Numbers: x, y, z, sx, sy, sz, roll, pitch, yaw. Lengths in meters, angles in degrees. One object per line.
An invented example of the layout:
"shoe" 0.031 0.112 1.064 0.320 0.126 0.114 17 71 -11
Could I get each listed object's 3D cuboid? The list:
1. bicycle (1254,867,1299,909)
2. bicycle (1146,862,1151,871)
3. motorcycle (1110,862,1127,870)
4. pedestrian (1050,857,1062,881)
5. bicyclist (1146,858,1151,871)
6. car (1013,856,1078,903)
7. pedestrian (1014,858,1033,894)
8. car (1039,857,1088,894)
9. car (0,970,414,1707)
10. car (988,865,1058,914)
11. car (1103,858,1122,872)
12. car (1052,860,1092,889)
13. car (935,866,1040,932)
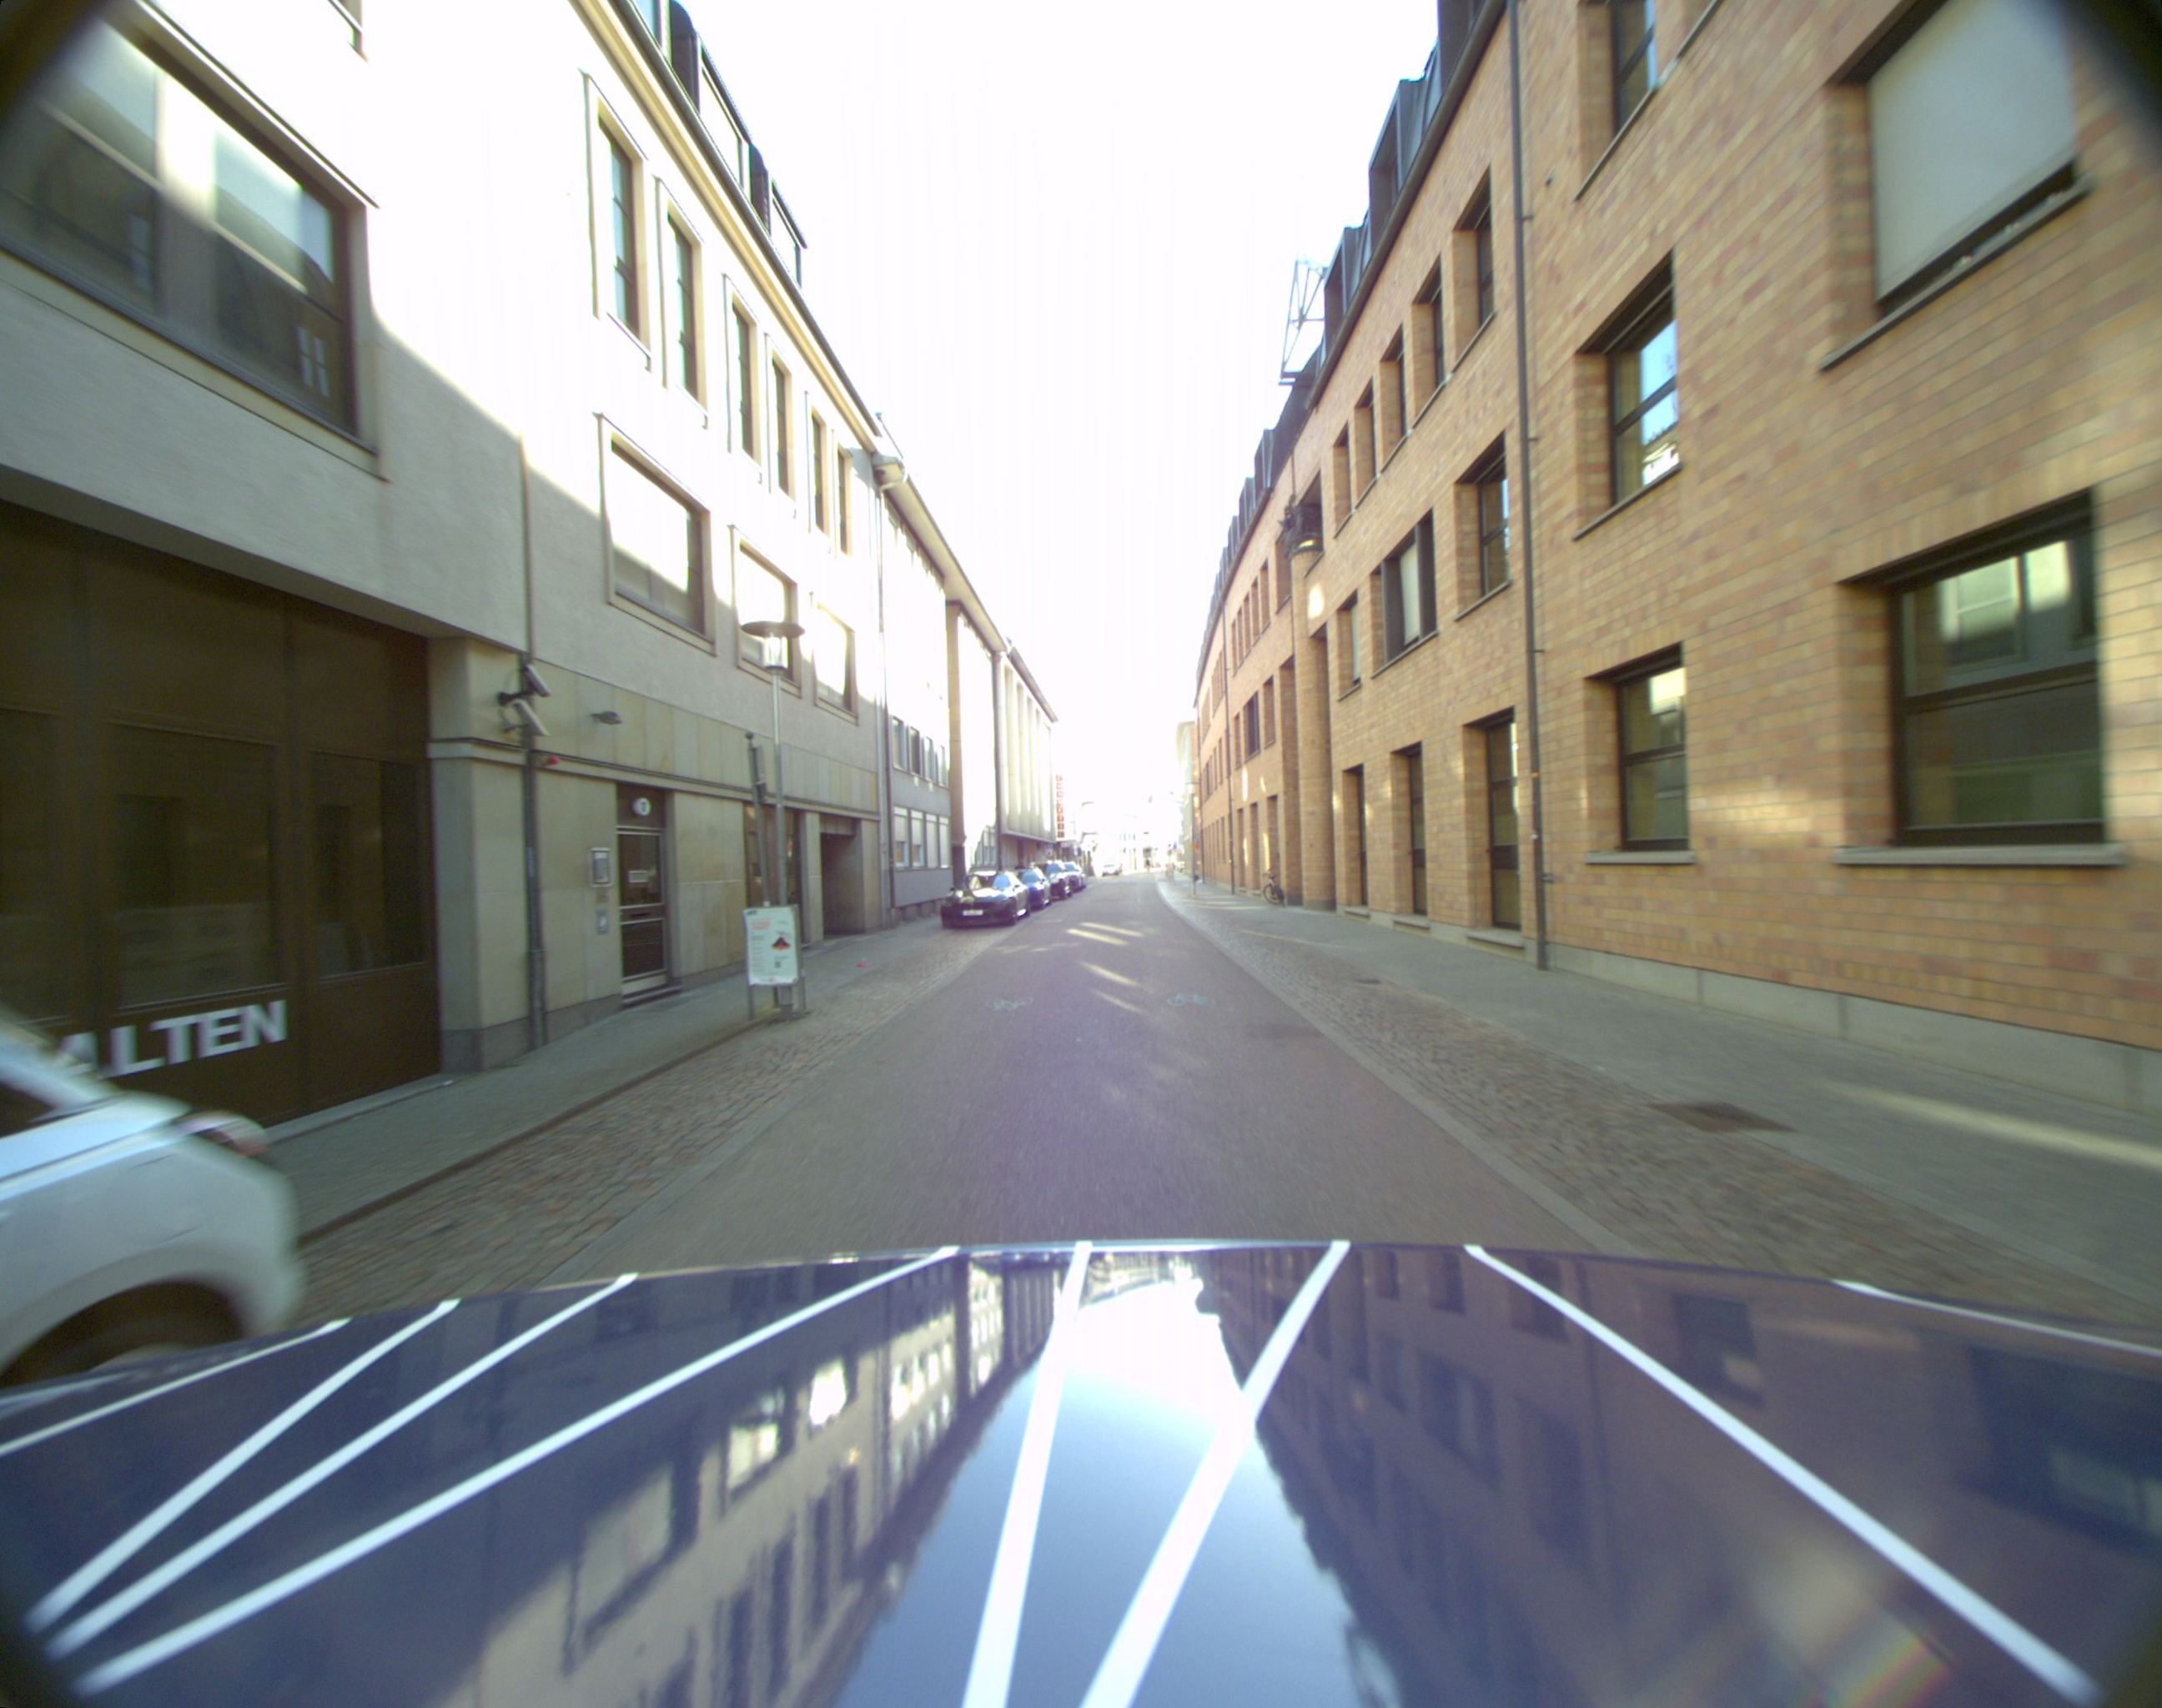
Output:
"bicycle" 5.856 0.989 22.848 0.633 1.155 1.803 -5 0 -5
"bicycle" 8.658 1.607 97.354 0.652 1.125 1.736 2 1 6
"motorcycle" 4.810 1.530 97.676 1.995 0.950 0.646 -2 0 19
"pedestrian" -1.881 1.143 57.060 0.623 1.726 0.625 -3 0 -41
"bicyclist" 8.663 1.313 97.403 0.663 1.633 0.926 1 1 6
"car" -1.462 1.059 33.607 2.108 1.775 5.053 -4 0 5
"pedestrian" -2.780 1.042 36.714 0.790 1.711 0.747 0 0 4
"car" -0.869 1.109 40.835 1.998 1.692 4.845 -4 0 5
"car" -3.077 1.160 0.318 1.845 1.469 4.167 -4 0 -1
"car" -1.997 1.207 27.446 1.811 1.404 4.791 -4 0 3
"car" 3.608 1.255 86.610 1.846 1.453 4.001 -4 0 6
"car" -0.508 1.227 46.398 1.827 1.496 4.601 -5 -1 5
"car" -2.466 1.149 21.427 1.898 1.444 5.227 -4 0 4
